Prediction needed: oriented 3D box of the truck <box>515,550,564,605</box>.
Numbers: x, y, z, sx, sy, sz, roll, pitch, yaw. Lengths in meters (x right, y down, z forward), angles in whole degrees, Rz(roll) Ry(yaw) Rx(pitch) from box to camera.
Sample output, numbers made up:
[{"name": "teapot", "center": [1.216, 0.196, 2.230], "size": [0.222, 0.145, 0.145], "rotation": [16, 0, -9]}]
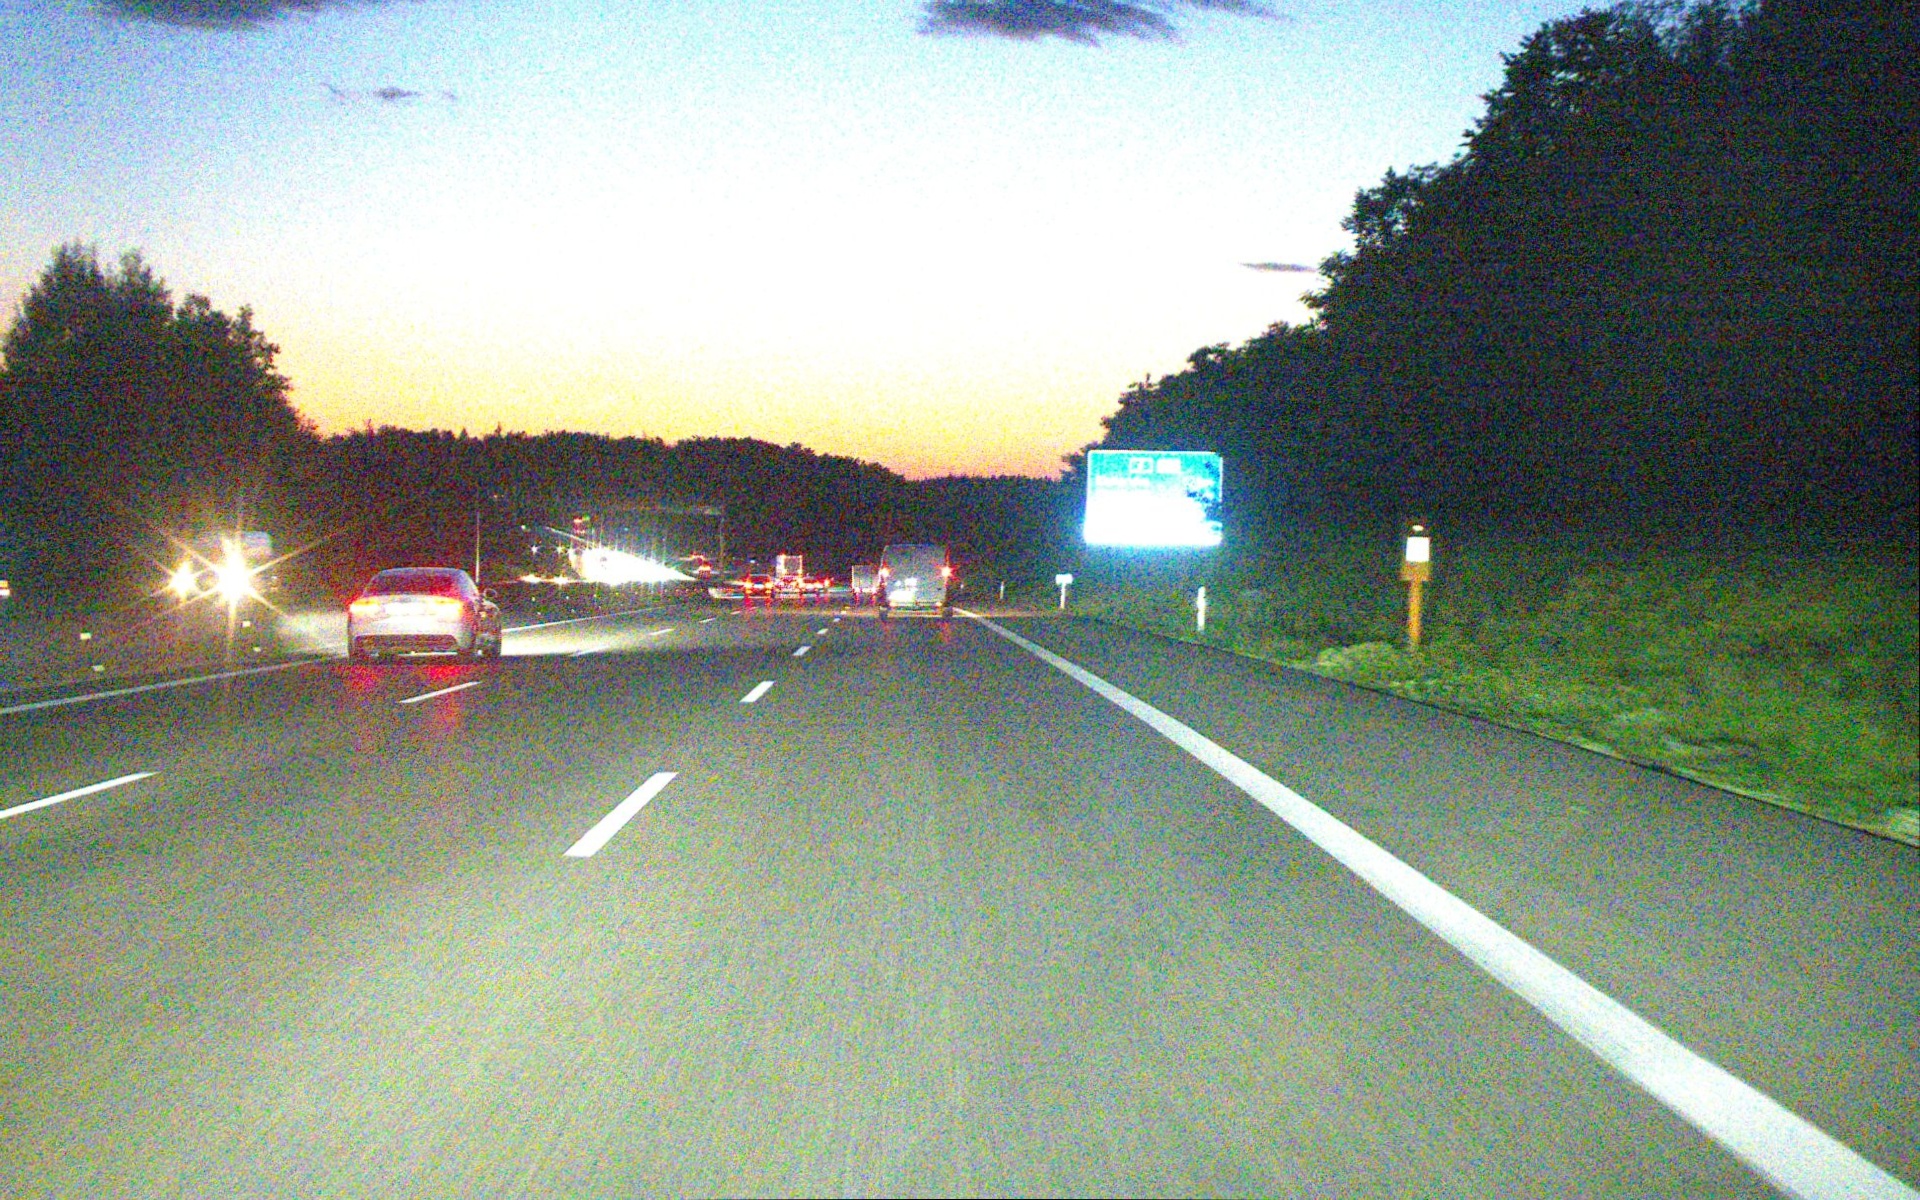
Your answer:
[{"name": "truck", "center": [-29.937, -1.628, 245.129], "size": [2.519, 3.838, 9.065], "rotation": [0, 0, -1]}]

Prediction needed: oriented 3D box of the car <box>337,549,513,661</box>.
[{"name": "car", "center": [-7.872, 0.034, 51.016], "size": [1.779, 1.482, 5.254], "rotation": [3, 1, -1]}]

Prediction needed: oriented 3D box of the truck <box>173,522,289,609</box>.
[{"name": "truck", "center": [-24.189, -1.178, 114.334], "size": [2.196, 2.716, 7.624], "rotation": [3, 1, -1]}]

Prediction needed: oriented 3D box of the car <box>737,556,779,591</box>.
[{"name": "car", "center": [-11.981, -1.595, 204.459], "size": [2.196, 1.948, 4.634], "rotation": [3, 1, -1]}]

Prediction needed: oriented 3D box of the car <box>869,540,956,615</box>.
[{"name": "car", "center": [-1.254, -0.630, 92.616], "size": [2.196, 1.949, 4.763], "rotation": [-1, 1, 1]}]
